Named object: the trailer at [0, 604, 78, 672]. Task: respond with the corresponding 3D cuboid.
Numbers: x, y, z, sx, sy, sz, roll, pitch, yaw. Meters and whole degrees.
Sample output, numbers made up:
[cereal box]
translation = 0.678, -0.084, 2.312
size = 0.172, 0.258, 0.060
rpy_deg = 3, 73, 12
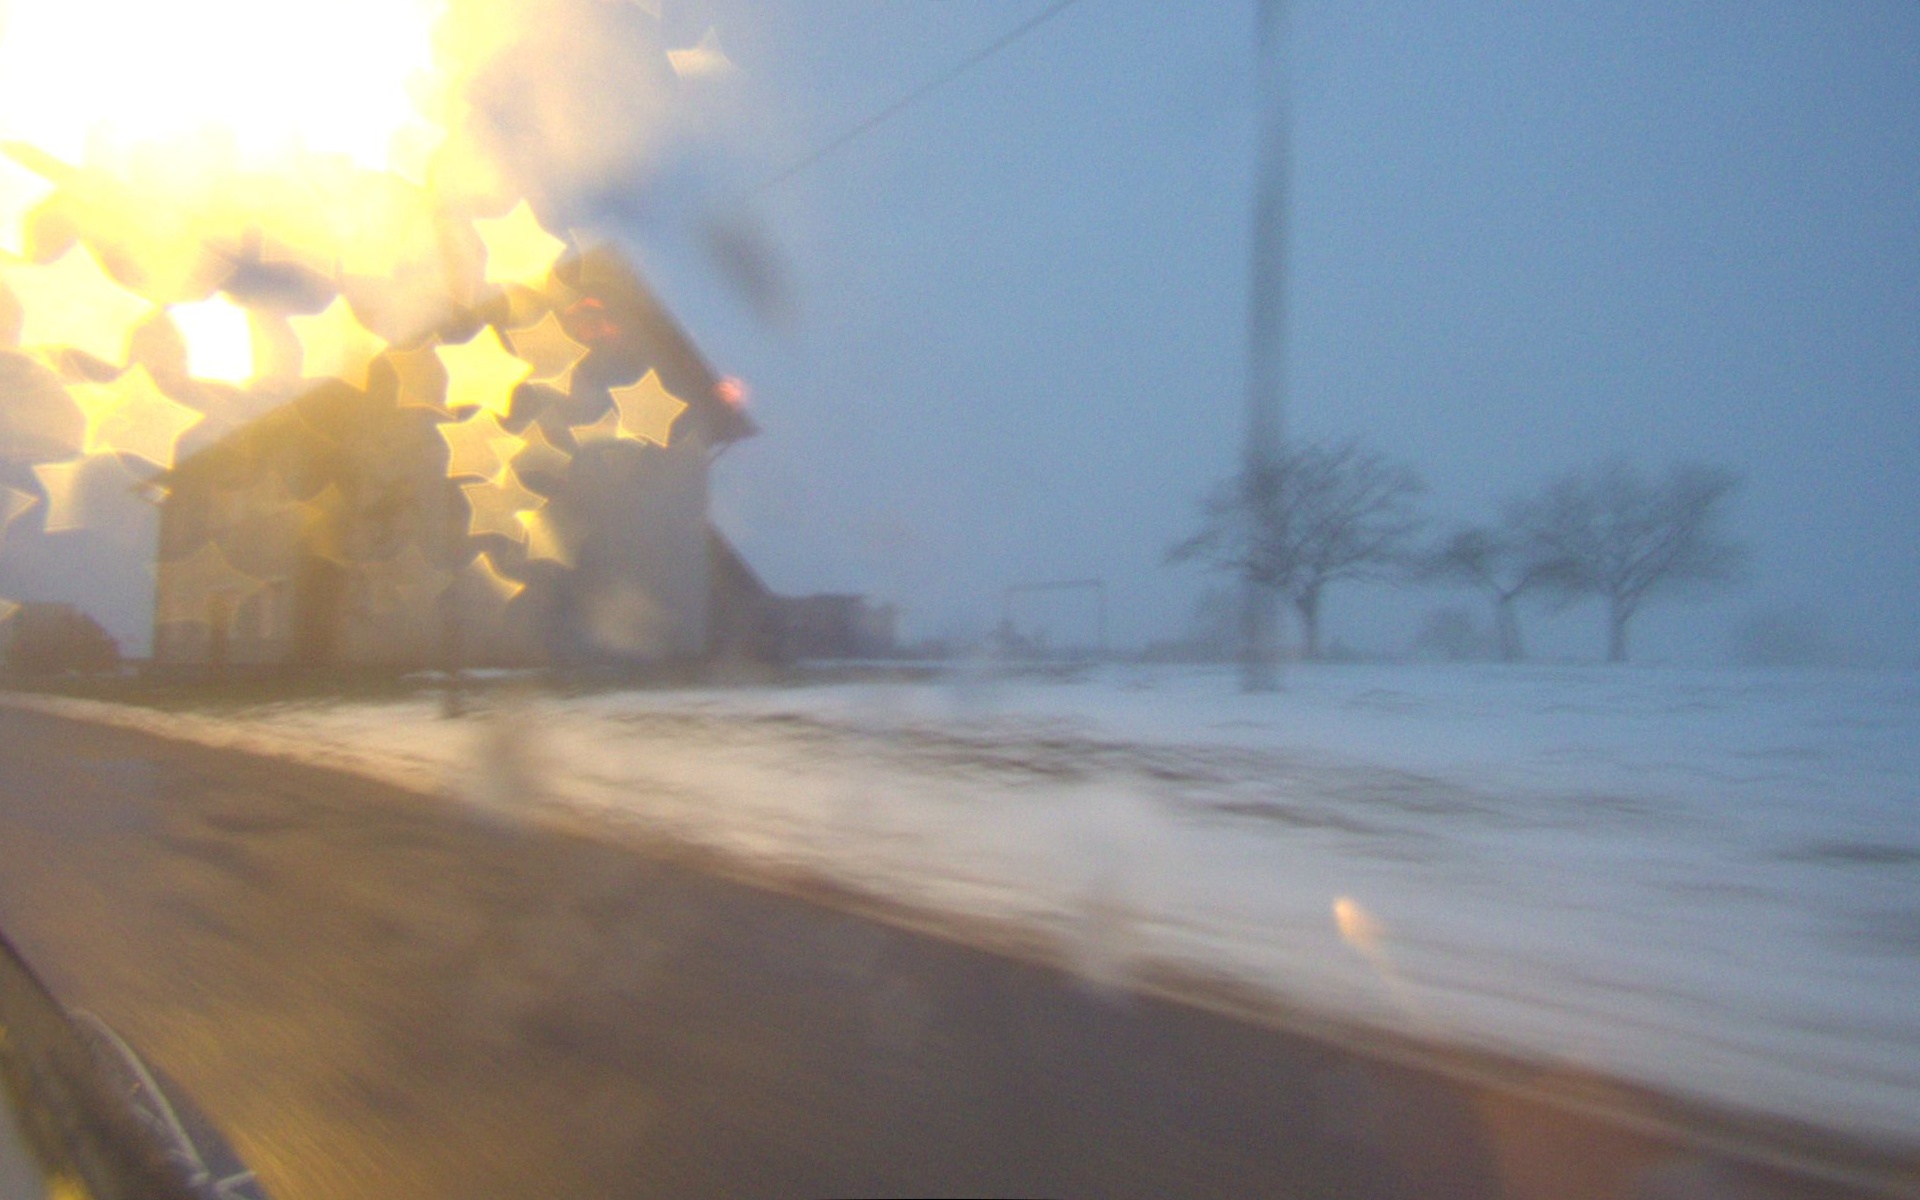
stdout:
[trailer]
translation = -37.974, 1.613, 41.491
size = 4.006, 2.509, 1.973
rpy_deg = -5, -8, 40
